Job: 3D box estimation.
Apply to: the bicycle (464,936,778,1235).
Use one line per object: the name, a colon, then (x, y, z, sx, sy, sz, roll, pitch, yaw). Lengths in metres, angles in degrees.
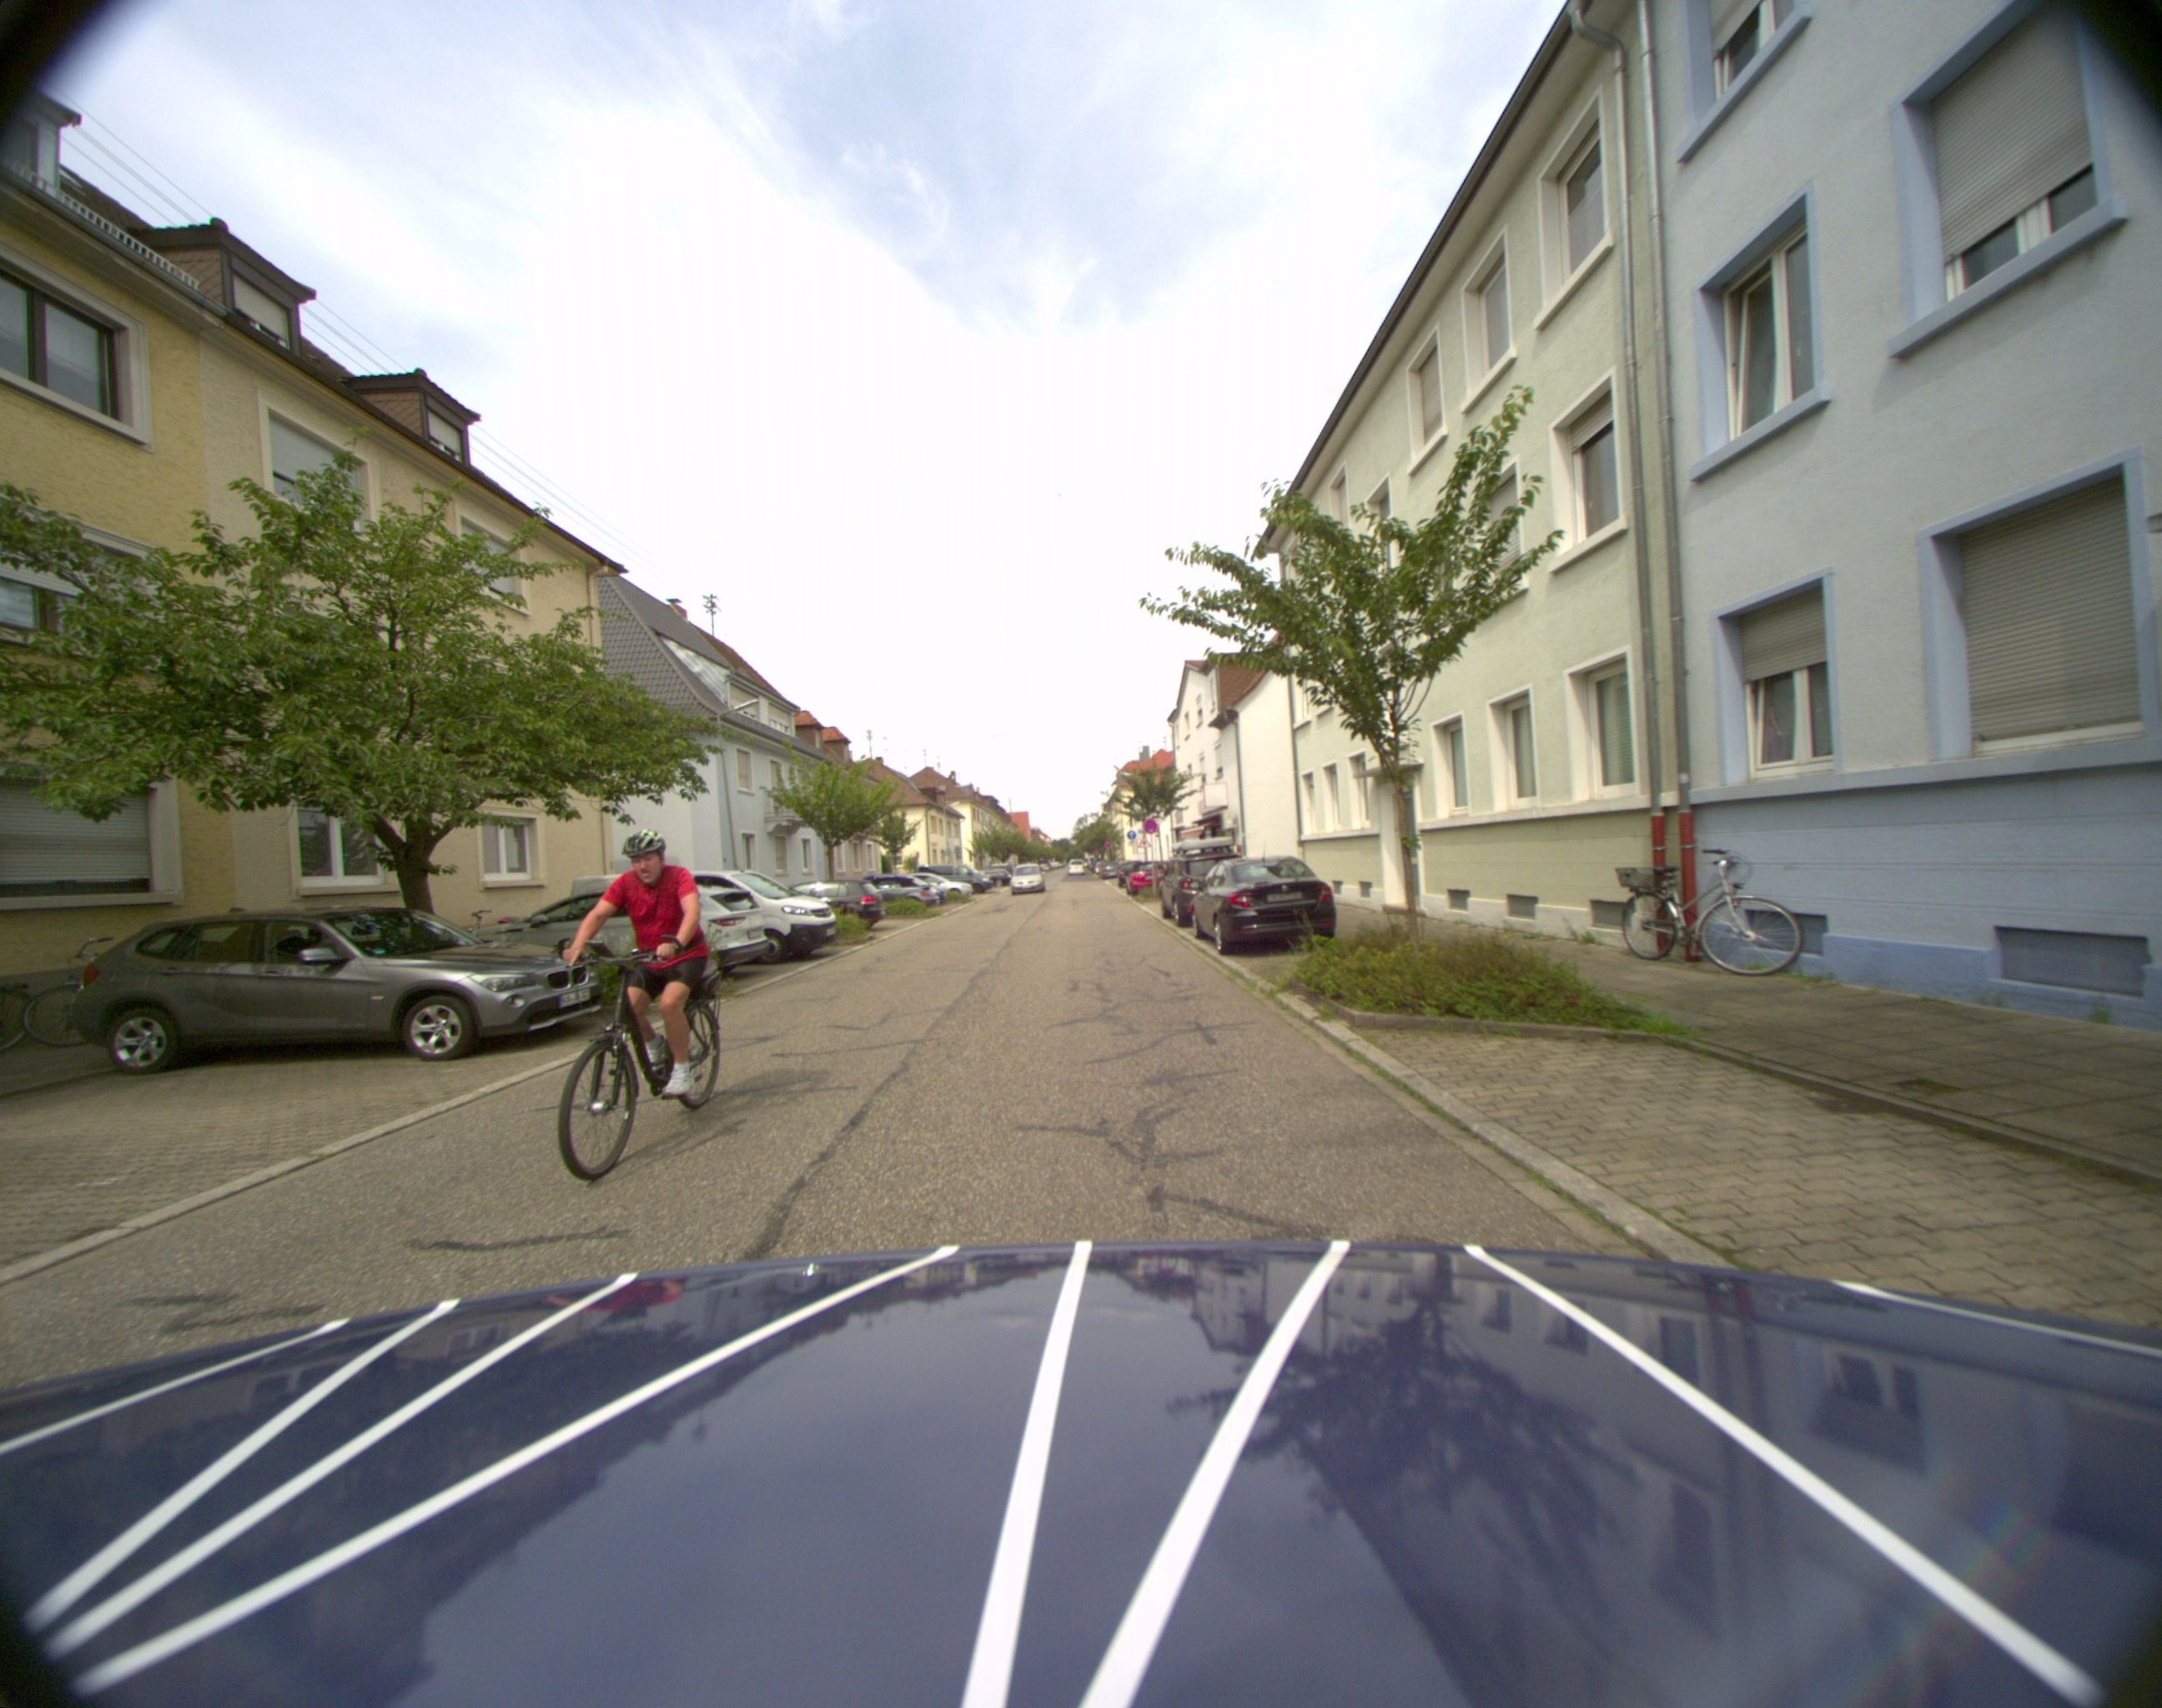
bicycle: (-2.663, 1.253, 4.733, 0.693, 1.220, 1.936, -4, 0, 0)

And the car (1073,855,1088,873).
car: (-0.074, 1.198, 94.815, 1.757, 2.098, 3.620, -1, 0, 0)

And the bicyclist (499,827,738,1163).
bicyclist: (-2.699, 0.754, 4.564, 0.694, 1.760, 0.986, -4, 1, 0)

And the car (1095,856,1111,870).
car: (2.598, 1.052, 90.250, 1.711, 1.495, 3.443, -1, 0, 0)

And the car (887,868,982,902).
car: (-7.344, 1.564, 38.351, 4.403, 1.527, 1.870, -1, 1, 0)

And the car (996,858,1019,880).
car: (-6.530, 1.316, 67.679, 1.646, 1.816, 3.443, -4, 0, -1)

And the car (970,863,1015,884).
car: (-7.101, 1.543, 61.248, 3.442, 1.438, 1.646, -4, 0, -4)

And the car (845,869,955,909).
car: (-8.108, 1.549, 34.297, 4.401, 1.603, 1.871, -1, 1, 5)

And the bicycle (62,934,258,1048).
bicycle: (-11.543, 1.668, 9.611, 0.480, 1.133, 1.635, -1, 0, -2)

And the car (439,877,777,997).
car: (-7.501, 1.276, 12.385, 4.318, 1.673, 1.851, -1, -1, 0)

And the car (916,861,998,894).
car: (-7.547, 1.423, 46.586, 4.720, 1.816, 1.870, -1, 1, 0)

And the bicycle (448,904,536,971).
bicycle: (-11.661, 1.630, 15.093, 0.480, 1.133, 1.635, -1, 0, -2)

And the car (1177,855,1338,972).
car: (2.821, 0.865, 13.080, 1.706, 1.533, 4.249, -4, 0, 0)

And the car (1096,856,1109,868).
car: (2.759, 1.031, 98.091, 1.626, 1.495, 3.443, -1, 0, 0)

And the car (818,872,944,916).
car: (-7.667, 1.523, 29.409, 4.404, 1.491, 1.710, -1, 1, -1)

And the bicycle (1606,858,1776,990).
bicycle: (5.725, 0.601, 7.239, 0.368, 1.107, 1.538, -1, 0, 0)

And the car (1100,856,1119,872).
car: (2.824, 0.942, 75.216, 1.711, 1.495, 3.443, -1, 0, 0)

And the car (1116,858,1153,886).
car: (3.033, 0.982, 43.408, 1.711, 1.477, 3.442, -1, 0, -2)

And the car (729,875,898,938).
car: (-7.428, 1.438, 21.372, 4.120, 1.527, 1.710, -1, 1, -1)

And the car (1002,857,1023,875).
car: (-6.753, 1.159, 74.885, 1.646, 1.666, 3.443, -4, 0, -1)

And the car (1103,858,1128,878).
car: (2.799, 1.124, 62.127, 1.711, 1.438, 3.442, -1, 0, -2)

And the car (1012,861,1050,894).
car: (-2.787, 1.269, 43.092, 1.788, 1.595, 4.835, -3, 0, -1)

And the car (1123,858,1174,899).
car: (2.872, 1.006, 33.163, 1.711, 1.591, 4.115, -1, 0, -2)

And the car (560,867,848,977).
car: (-7.343, 1.281, 15.153, 4.750, 1.899, 1.850, -1, 1, 0)

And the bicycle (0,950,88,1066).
bicycle: (-11.659, 1.679, 7.911, 0.480, 1.133, 1.635, -1, 0, -2)

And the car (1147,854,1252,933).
car: (2.779, 0.874, 18.758, 1.697, 1.573, 4.248, -5, 0, -2)

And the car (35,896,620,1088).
car: (-7.681, 1.356, 8.113, 4.318, 1.588, 1.850, -1, 1, 0)
